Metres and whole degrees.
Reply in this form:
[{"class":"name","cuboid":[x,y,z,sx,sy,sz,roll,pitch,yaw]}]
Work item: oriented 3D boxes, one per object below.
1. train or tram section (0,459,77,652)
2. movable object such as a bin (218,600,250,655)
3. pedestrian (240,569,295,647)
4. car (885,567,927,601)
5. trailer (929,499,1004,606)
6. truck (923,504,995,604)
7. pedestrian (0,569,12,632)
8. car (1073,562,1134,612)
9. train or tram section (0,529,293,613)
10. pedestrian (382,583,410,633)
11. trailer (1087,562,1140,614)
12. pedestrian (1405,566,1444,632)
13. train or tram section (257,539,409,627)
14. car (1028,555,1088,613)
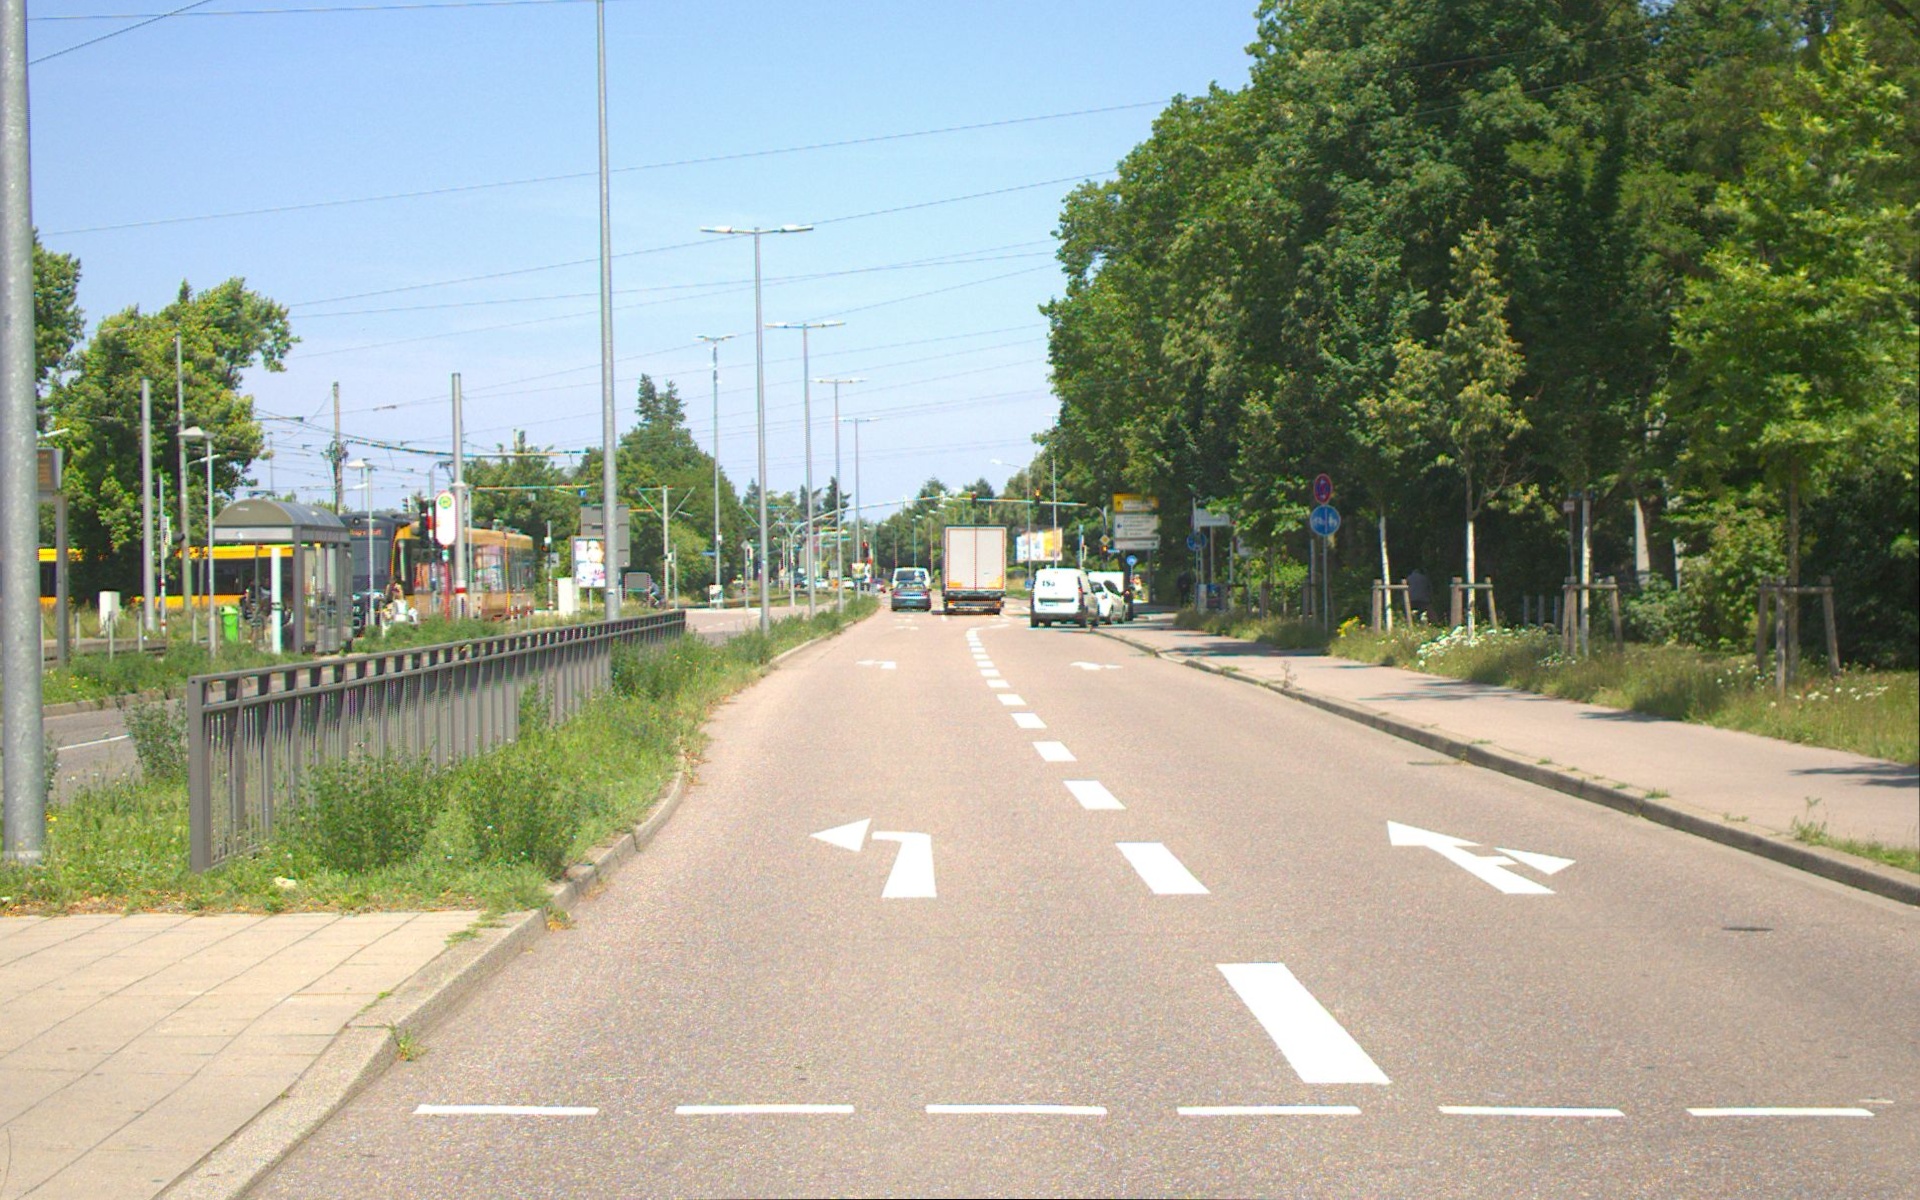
[{"class":"train or tram section","cuboid":[-19.422,-0.839,63.181,3.043,3.612,13.898,1,1,-1]},{"class":"movable object such as a bin","cuboid":[-13.146,0.491,62.240,0.481,0.974,0.645,-1,0,-5]},{"class":"pedestrian","cuboid":[-13.890,0.155,68.972,0.930,1.541,0.985,1,0,-3]},{"class":"car","cuboid":[-2.489,-0.717,157.877,1.892,1.367,4.430,2,-1,-1]},{"class":"trailer","cuboid":[0.229,-2.003,146.811,2.827,4.406,8.750,1,1,-2]},{"class":"truck","cuboid":[-0.088,-2.119,155.334,2.827,4.329,8.285,1,1,-2]},{"class":"pedestrian","cuboid":[-24.000,0.016,85.475,0.801,1.560,0.536,1,0,-15]},{"class":"car","cuboid":[4.792,-0.450,115.412,1.699,1.648,4.399,1,1,-2]},{"class":"train or tram section","cuboid":[-35.559,-1.298,150.004,13.239,3.454,3.042,1,1,24]},{"class":"pedestrian","cuboid":[-13.695,0.195,83.454,0.580,1.185,0.536,1,0,-1]},{"class":"trailer","cuboid":[4.989,-0.408,111.789,1.468,1.663,2.856,1,1,-2]},{"class":"pedestrian","cuboid":[9.863,-0.029,72.966,0.708,1.393,0.763,1,0,1]},{"class":"train or tram section","cuboid":[-25.894,-0.755,141.362,3.036,3.454,12.753,1,1,-25]},{"class":"car","cuboid":[3.024,-0.500,105.423,1.709,1.741,4.427,1,1,3]}]
